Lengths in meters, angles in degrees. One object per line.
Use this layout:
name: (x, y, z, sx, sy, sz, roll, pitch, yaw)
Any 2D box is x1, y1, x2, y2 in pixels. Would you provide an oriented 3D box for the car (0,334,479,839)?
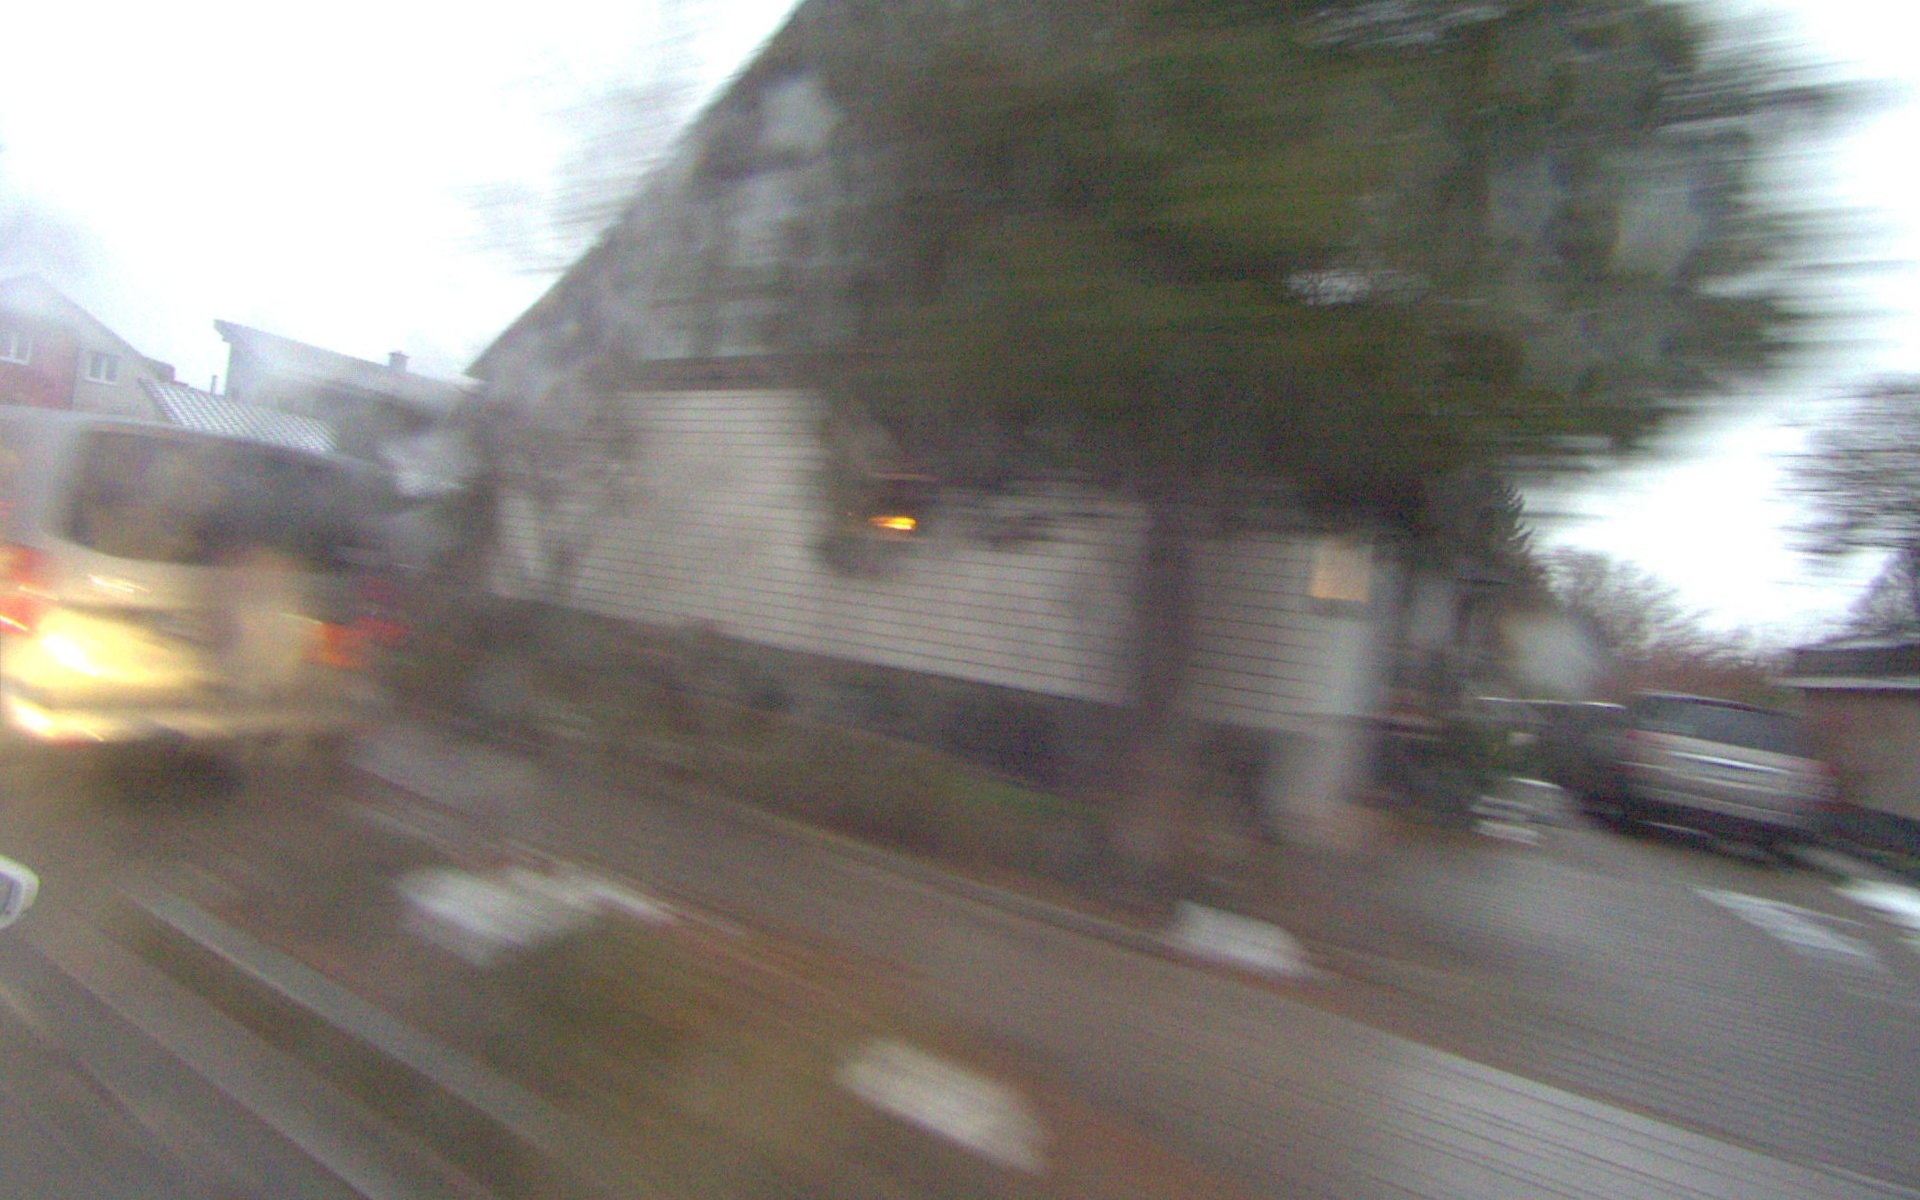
car: (-5.721, -0.284, 6.346, 5.649, 2.039, 1.979, 7, 1, 32)

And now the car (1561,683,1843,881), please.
car: (8.777, 2.051, 12.324, 1.861, 1.664, 4.000, 10, -1, 26)
